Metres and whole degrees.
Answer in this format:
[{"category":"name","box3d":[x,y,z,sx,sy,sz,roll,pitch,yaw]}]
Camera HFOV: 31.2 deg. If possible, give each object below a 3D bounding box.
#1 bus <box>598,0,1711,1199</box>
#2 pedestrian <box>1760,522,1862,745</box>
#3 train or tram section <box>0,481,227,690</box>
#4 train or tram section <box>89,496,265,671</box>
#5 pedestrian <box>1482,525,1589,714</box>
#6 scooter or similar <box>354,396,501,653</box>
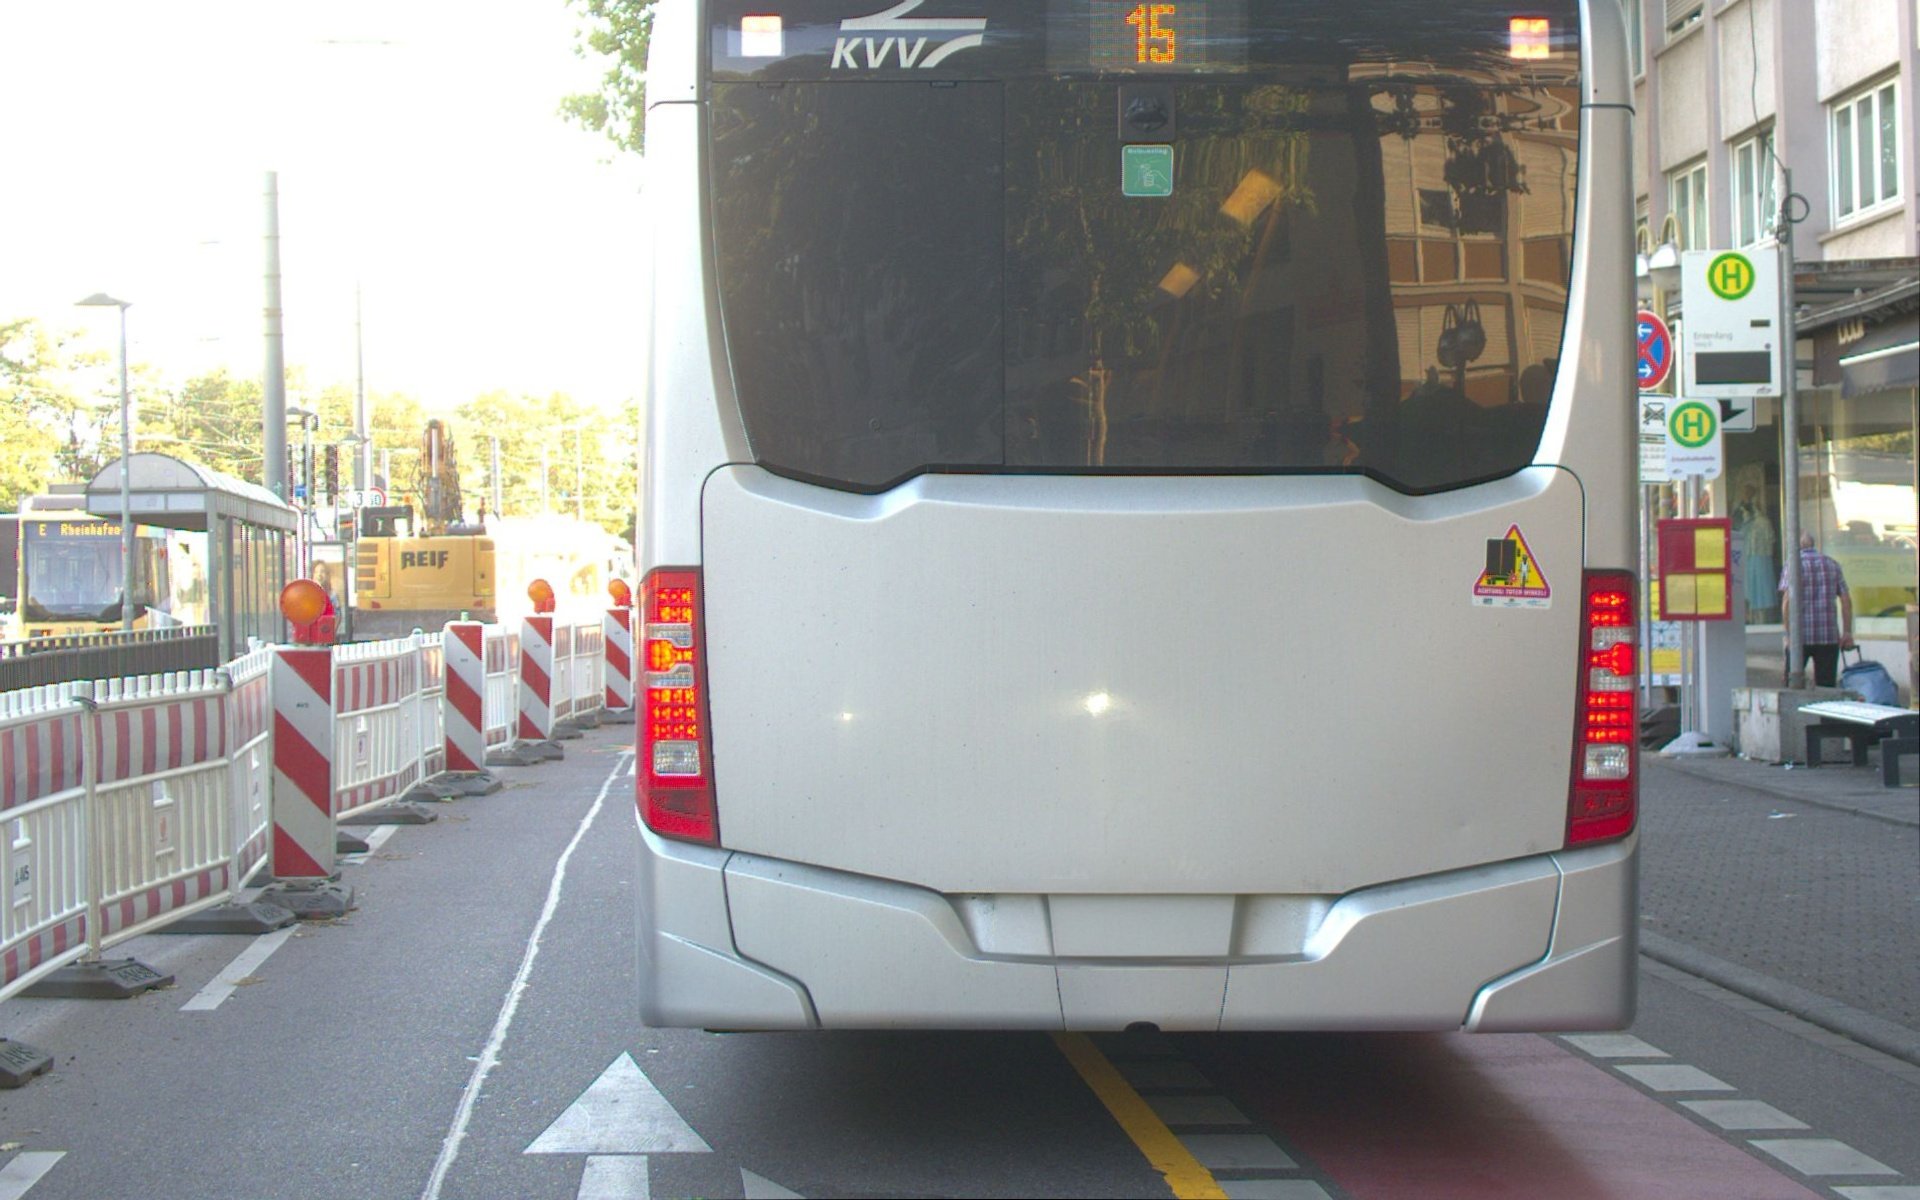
[{"category":"bus","box3d":[0.446,-0.167,12.197,2.611,3.115,7.993,1,0,0]},{"category":"pedestrian","box3d":[6.506,0.254,26.263,0.664,1.661,0.600,-3,0,16]},{"category":"train or tram section","box3d":[-15.762,-0.261,64.255,2.686,3.522,11.773,1,0,-6]},{"category":"train or tram section","box3d":[-17.132,-0.352,75.865,2.686,3.546,11.584,1,0,-8]},{"category":"pedestrian","box3d":[5.215,0.173,31.124,0.878,1.685,0.619,-1,1,15]},{"category":"scooter or similar","box3d":[-9.691,-1.328,62.995,2.468,4.455,5.974,-1,0,-7]}]
